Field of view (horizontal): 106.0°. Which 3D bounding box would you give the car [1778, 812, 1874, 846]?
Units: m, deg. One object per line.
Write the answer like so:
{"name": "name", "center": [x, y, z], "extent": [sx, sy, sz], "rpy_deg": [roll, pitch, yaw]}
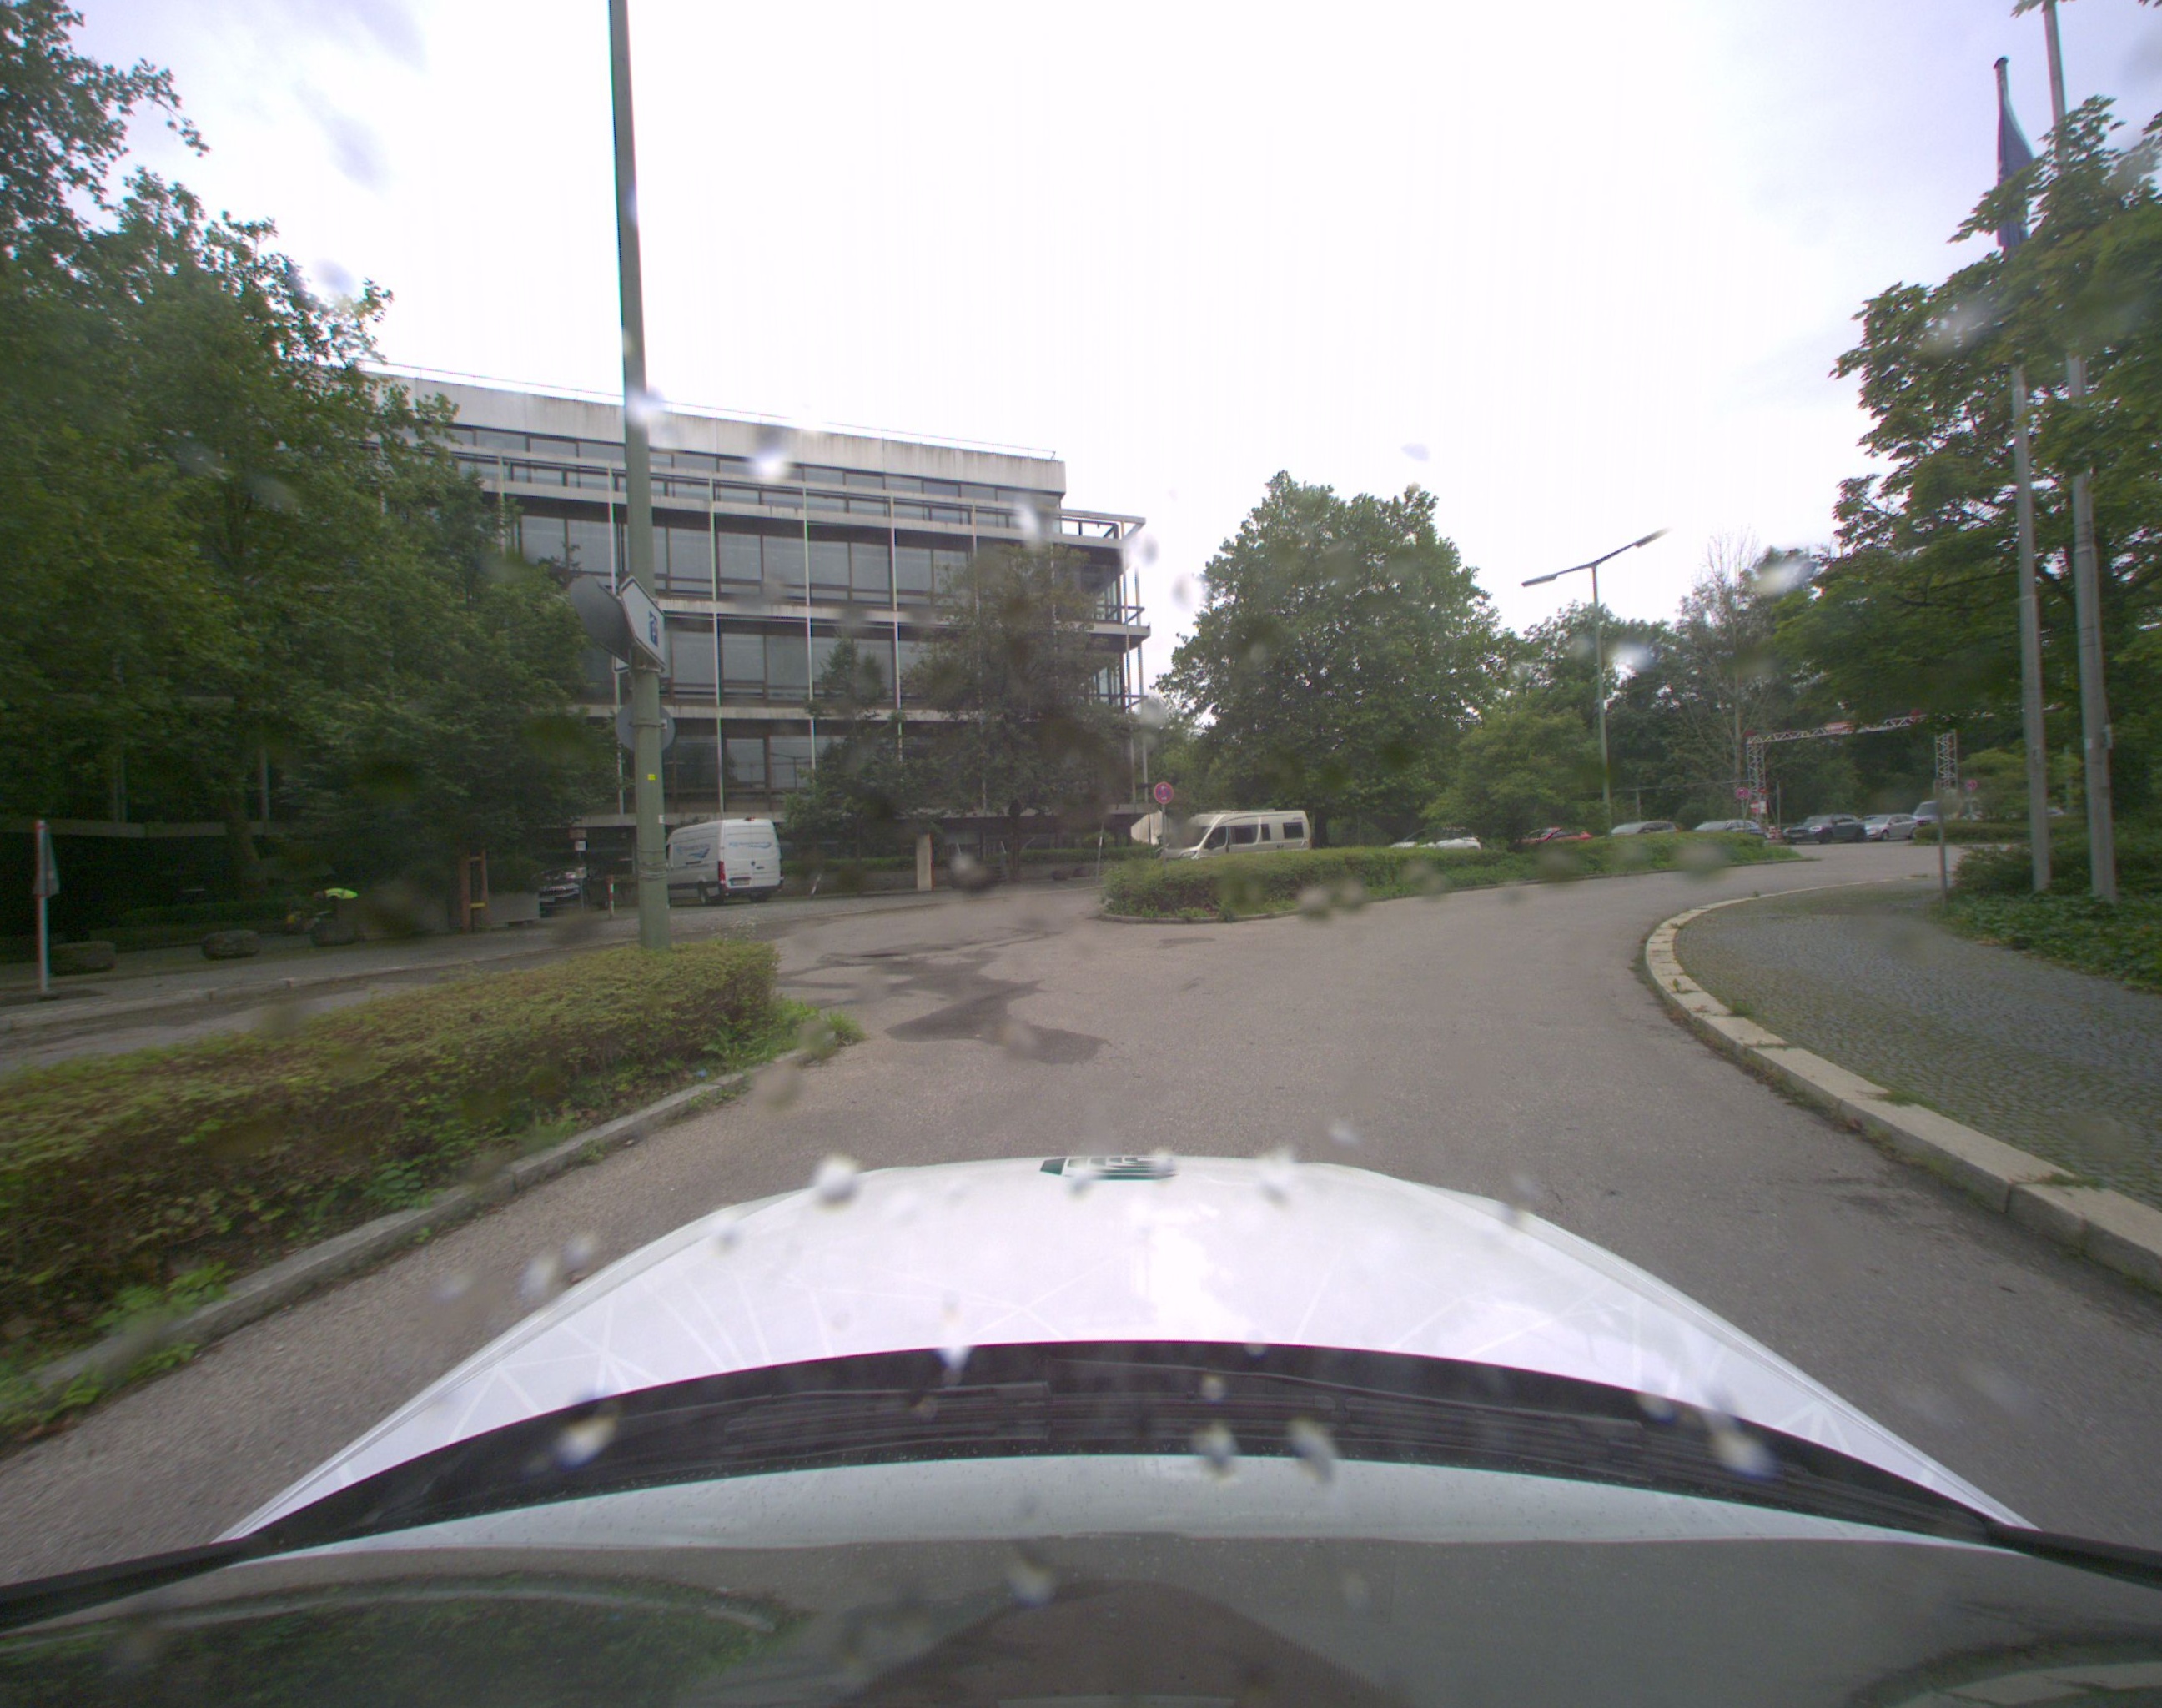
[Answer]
{"name": "car", "center": [38.675, -1.298, 42.296], "extent": [3.998, 1.574, 1.988], "rpy_deg": [-3, 0, -18]}

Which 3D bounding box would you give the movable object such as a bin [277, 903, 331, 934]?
{"name": "movable object such as a bin", "center": [-20.379, 1.685, 21.384], "extent": [0.836, 0.753, 0.569], "rpy_deg": [-2, 0, -17]}

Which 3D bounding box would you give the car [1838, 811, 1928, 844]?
{"name": "car", "center": [43.390, -1.414, 44.086], "extent": [4.002, 1.574, 1.986], "rpy_deg": [-3, 0, -21]}

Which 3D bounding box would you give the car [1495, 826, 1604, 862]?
{"name": "car", "center": [20.709, -0.424, 36.052], "extent": [3.998, 1.409, 1.988], "rpy_deg": [-3, 0, -18]}

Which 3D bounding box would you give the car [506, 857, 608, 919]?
{"name": "car", "center": [-16.544, 1.018, 25.922], "extent": [1.950, 1.721, 4.206], "rpy_deg": [-2, 0, -23]}

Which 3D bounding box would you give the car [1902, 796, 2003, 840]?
{"name": "car", "center": [49.086, -2.013, 45.870], "extent": [4.872, 2.227, 2.191], "rpy_deg": [-3, 0, -21]}

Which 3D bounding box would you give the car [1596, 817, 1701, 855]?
{"name": "car", "center": [26.412, -0.837, 37.919], "extent": [3.998, 1.574, 1.988], "rpy_deg": [-3, 0, -18]}

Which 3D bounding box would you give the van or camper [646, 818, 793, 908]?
{"name": "van or camper", "center": [-11.995, 0.375, 26.700], "extent": [2.175, 2.580, 6.457], "rpy_deg": [-1, -2, -45]}

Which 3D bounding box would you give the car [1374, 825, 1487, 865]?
{"name": "car", "center": [14.631, -0.373, 34.135], "extent": [3.998, 1.508, 1.988], "rpy_deg": [-3, 0, -18]}

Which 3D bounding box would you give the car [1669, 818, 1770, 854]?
{"name": "car", "center": [31.122, -0.870, 39.731], "extent": [3.998, 1.574, 1.988], "rpy_deg": [-3, 0, -18]}

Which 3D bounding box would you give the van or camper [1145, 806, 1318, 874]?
{"name": "van or camper", "center": [5.613, -0.544, 29.855], "extent": [6.443, 2.281, 2.231], "rpy_deg": [-2, 0, -33]}

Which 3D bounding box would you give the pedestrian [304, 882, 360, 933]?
{"name": "pedestrian", "center": [-19.863, 1.418, 21.610], "extent": [0.928, 1.278, 0.539], "rpy_deg": [-2, 0, -17]}
